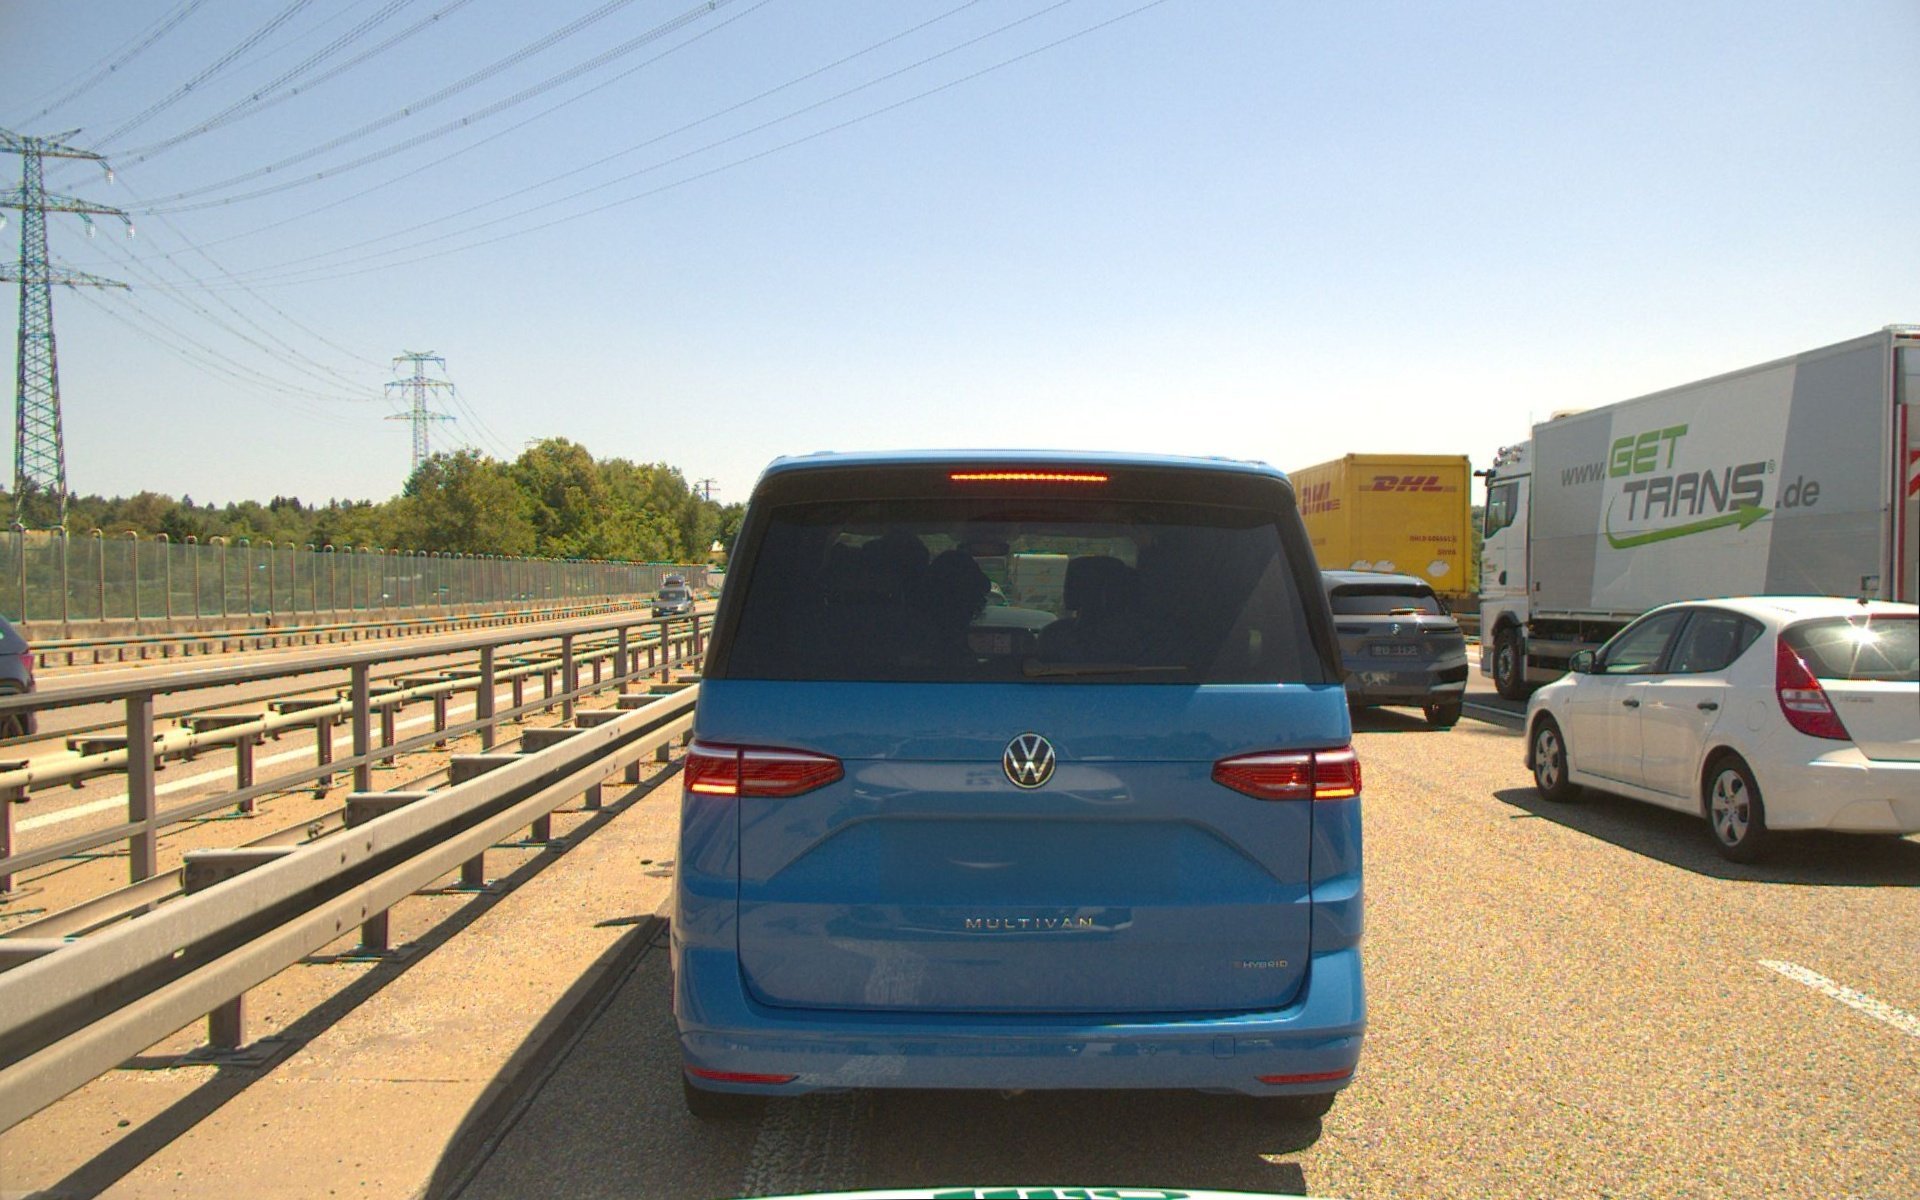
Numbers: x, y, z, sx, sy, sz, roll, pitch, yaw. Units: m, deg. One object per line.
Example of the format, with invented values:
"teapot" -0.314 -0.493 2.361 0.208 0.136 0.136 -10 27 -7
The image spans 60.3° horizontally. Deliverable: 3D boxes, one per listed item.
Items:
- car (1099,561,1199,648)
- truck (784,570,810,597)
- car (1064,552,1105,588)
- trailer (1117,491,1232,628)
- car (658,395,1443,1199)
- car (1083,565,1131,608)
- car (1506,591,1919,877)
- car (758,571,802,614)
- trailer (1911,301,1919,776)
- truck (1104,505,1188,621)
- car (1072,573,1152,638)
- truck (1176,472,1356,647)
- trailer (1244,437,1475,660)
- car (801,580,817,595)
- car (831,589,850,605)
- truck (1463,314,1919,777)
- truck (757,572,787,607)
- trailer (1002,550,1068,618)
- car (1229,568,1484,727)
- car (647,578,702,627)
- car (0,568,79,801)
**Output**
"car" 4.602 0.080 40.832 1.922 2.028 4.292 0 0 -1
"truck" -20.782 -2.060 211.064 2.468 3.164 8.720 -3 0 -2
"car" 7.216 -1.727 96.122 1.953 2.049 4.460 -1 0 -1
"trailer" 7.812 -1.423 61.633 2.583 4.595 11.299 1 0 -1
"car" 0.190 0.480 5.847 1.783 1.890 4.074 1 0 -1
"car" 7.240 -0.644 81.839 1.953 2.049 3.999 1 0 -1
"car" 5.180 0.688 10.809 1.752 1.481 4.292 0 0 -1
"car" -9.697 -0.402 89.274 1.825 2.168 4.268 -3 0 0
"trailer" 9.011 -0.454 9.250 2.643 3.765 8.013 0 0 -1
"truck" 7.707 -1.469 69.155 2.613 4.562 6.848 1 0 -1
"car" 4.499 0.146 49.429 1.953 1.847 3.999 0 0 -1
"truck" 8.370 -1.034 46.805 2.778 4.317 11.008 1 0 -1
"trailer" 8.579 -1.005 36.812 2.806 4.313 9.010 1 0 -1
"car" -23.008 -1.842 252.367 2.040 2.187 4.311 -2 1 -1
"car" -11.734 -0.330 162.961 1.586 1.489 3.701 -2 0 -1
"truck" 8.791 -0.487 18.778 2.603 3.711 11.008 0 0 -1
"truck" -19.210 -1.113 169.323 2.447 3.424 5.833 -2 0 -1
"trailer" 3.504 -0.728 79.633 2.517 3.042 10.661 1 0 -1
"car" 4.523 0.480 19.546 1.922 1.673 4.292 0 0 -1
"car" -14.060 0.094 81.592 1.953 2.254 4.267 -3 0 -1
"car" -8.023 0.684 11.100 1.829 1.729 4.429 -3 0 -1
